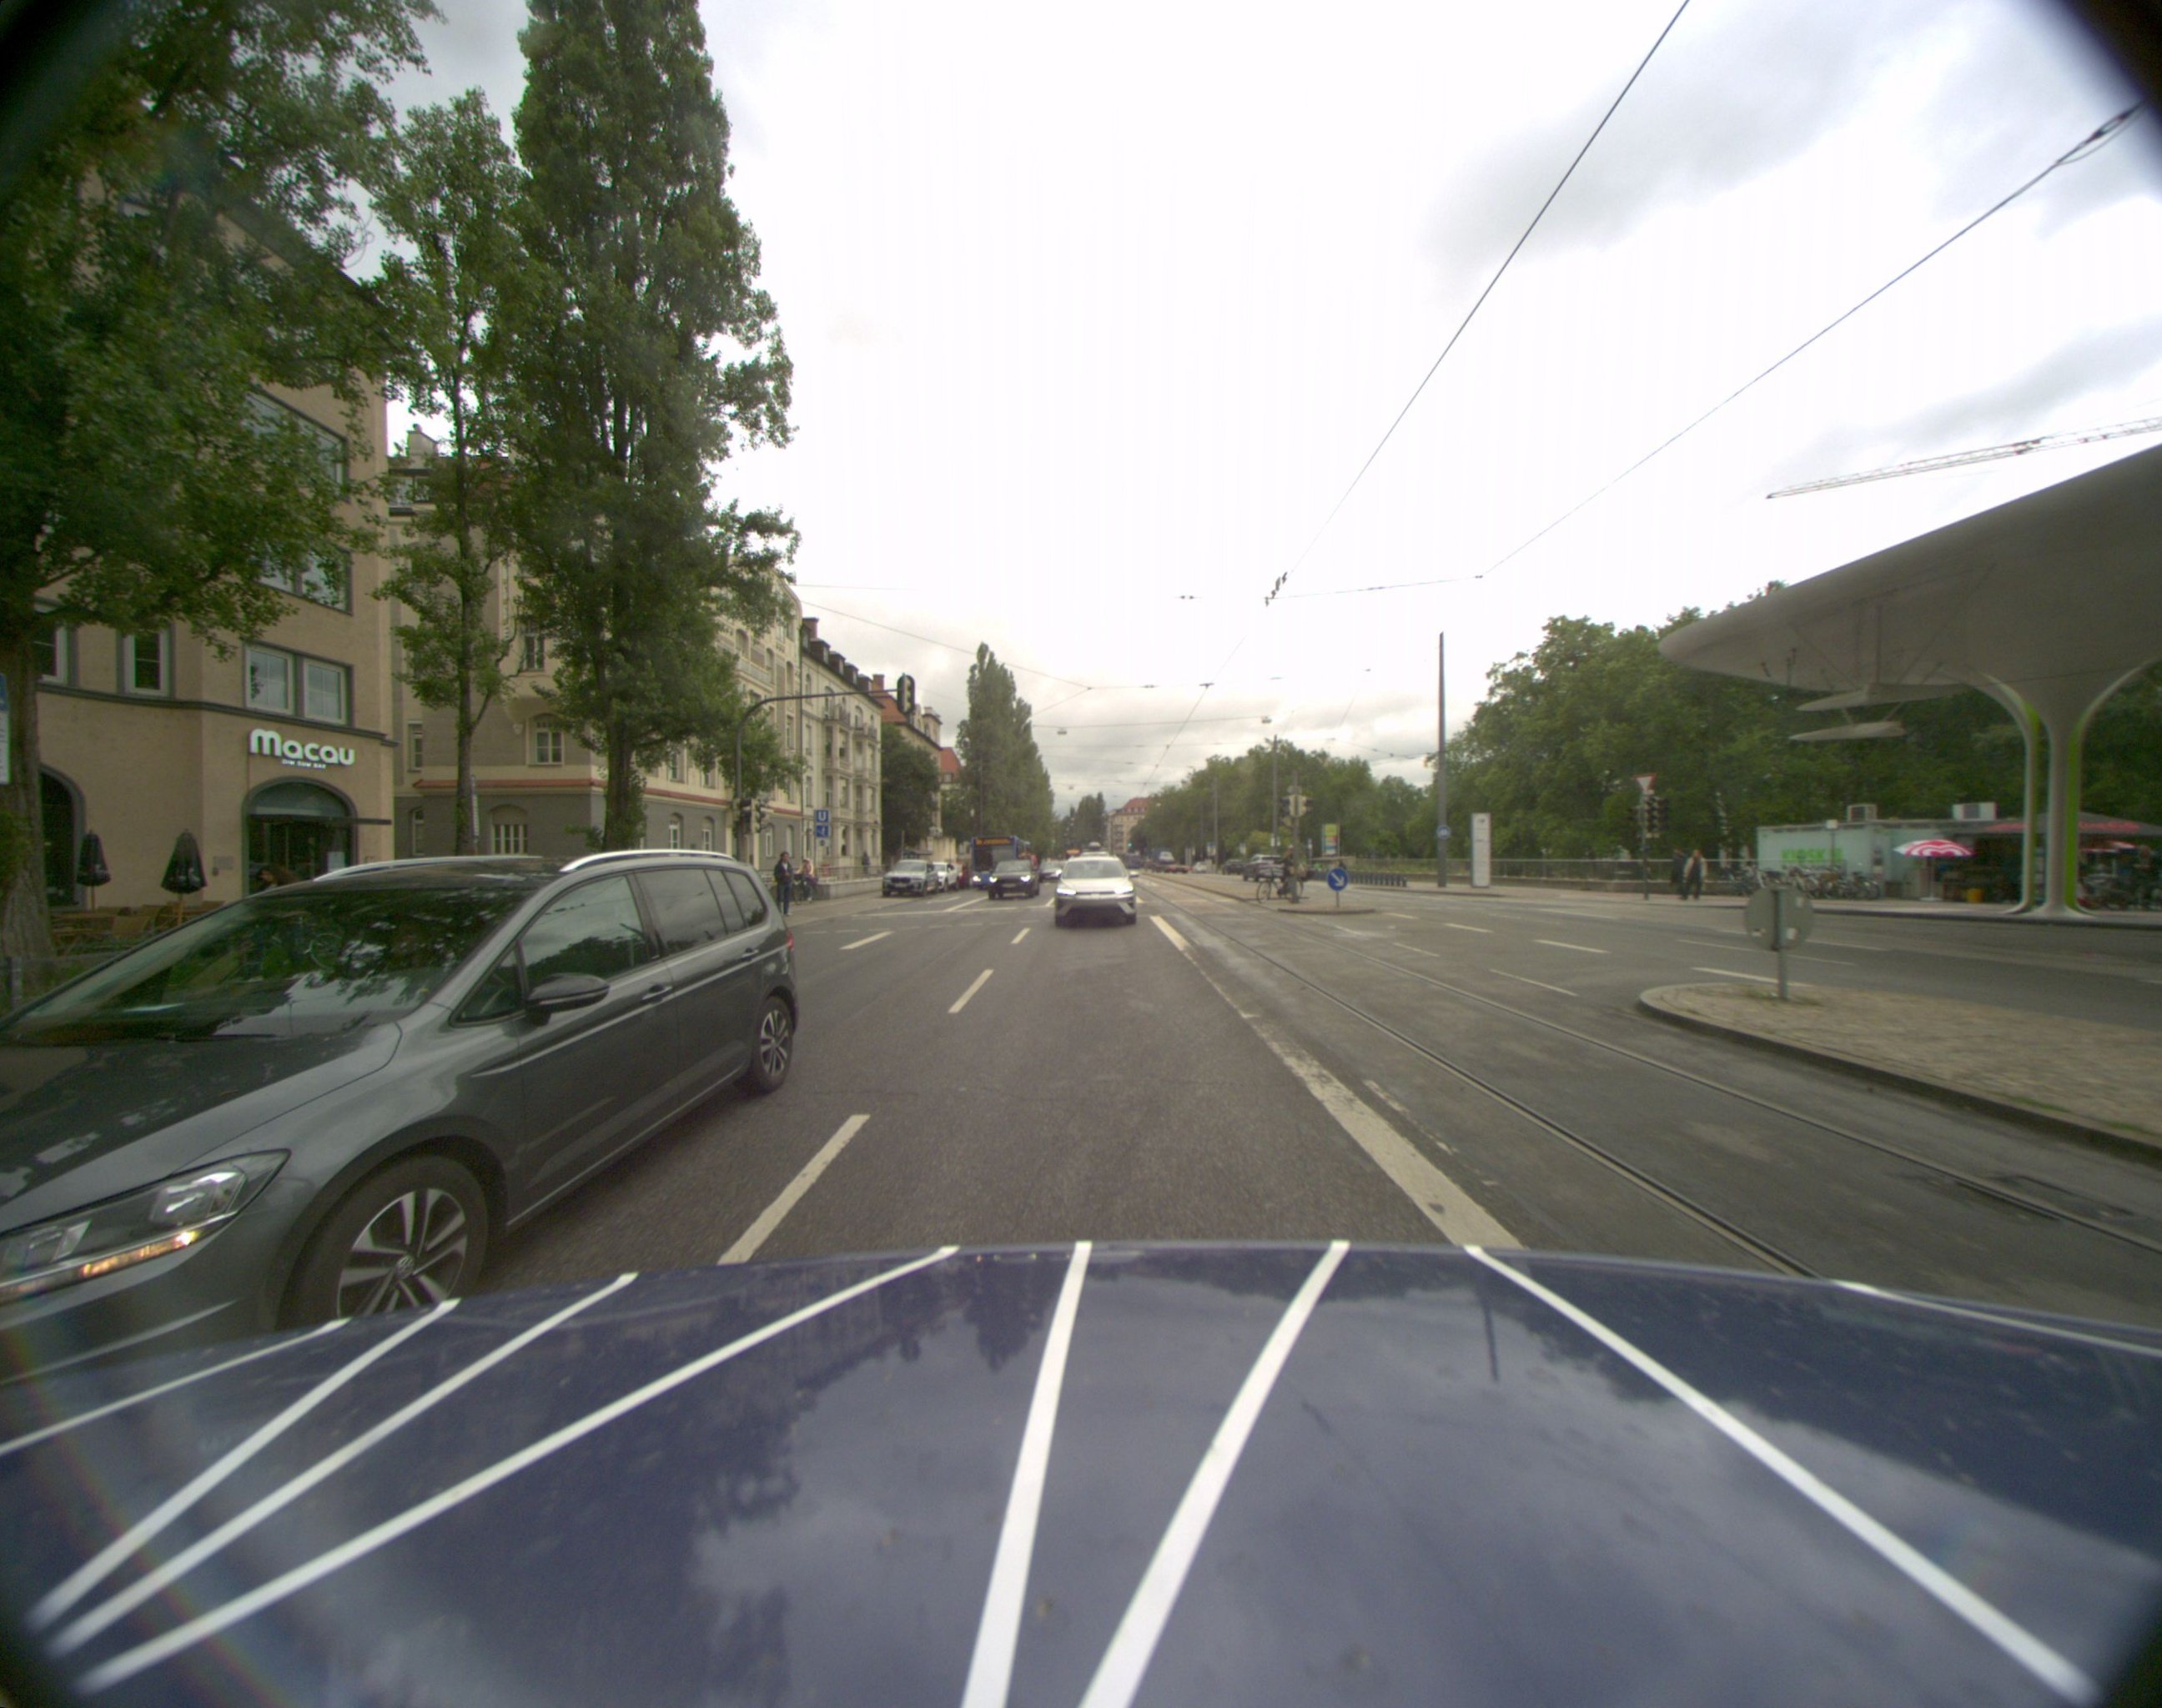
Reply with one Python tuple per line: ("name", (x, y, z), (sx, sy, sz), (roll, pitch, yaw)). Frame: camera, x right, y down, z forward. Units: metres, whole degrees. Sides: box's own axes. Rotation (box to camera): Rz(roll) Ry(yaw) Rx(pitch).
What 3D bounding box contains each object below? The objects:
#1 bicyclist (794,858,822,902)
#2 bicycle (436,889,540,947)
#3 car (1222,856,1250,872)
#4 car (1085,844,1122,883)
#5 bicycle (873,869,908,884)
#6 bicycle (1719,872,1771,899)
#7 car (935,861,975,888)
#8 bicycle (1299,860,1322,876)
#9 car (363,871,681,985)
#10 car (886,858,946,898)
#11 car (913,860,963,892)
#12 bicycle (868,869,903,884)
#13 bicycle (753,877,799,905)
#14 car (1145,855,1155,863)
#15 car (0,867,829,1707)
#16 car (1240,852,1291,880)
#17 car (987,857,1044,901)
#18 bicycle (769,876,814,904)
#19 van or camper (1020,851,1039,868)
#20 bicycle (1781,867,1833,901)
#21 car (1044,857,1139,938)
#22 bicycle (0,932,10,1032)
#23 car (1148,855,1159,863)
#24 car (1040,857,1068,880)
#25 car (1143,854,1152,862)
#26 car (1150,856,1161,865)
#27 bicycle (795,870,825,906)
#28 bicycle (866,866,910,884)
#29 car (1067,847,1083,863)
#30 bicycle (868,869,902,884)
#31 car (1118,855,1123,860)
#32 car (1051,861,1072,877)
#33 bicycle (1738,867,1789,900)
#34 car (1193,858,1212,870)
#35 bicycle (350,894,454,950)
("bicyclist", (-10.224, 0.960, 28.529), (0.681, 1.594, 0.939), (0, 1, 1))
("bicycle", (-12.333, 1.325, 15.826), (1.801, 1.103, 0.447), (-3, 0, 3))
("car", (15.918, 0.977, 78.183), (1.998, 1.561, 4.102), (0, 0, 1))
("car", (1.276, 0.510, 44.244), (1.998, 2.100, 4.000), (-1, 0, 1))
("bicycle", (-13.139, 1.565, 52.419), (2.326, 0.916, 0.586), (-2, 1, -16))
("bicycle", (23.548, 1.103, 26.988), (0.479, 0.889, 1.850), (0, 0, 9))
("car", (-7.362, 1.163, 44.836), (1.730, 1.500, 3.742), (0, 0, 0))
("bicycle", (16.684, 1.007, 55.173), (1.696, 1.165, 0.560), (0, 0, -28))
("car", (-8.836, 1.065, 12.661), (1.999, 1.432, 4.528), (0, 0, -1))
("car", (-7.568, 1.052, 35.224), (1.737, 1.651, 4.502), (-2, 0, 0))
("car", (-7.440, 1.109, 39.898), (1.730, 1.567, 3.967), (0, 0, 3))
("bicycle", (-13.796, 1.593, 53.630), (2.326, 0.916, 0.586), (-2, 1, -16))
("bicycle", (-12.343, 1.473, 30.771), (0.445, 1.017, 1.842), (-1, 1, 28))
("car", (14.702, 1.053, 161.453), (1.809, 1.674, 4.000), (0, 0, 1))
("car", (-2.950, 0.953, 3.566), (1.776, 1.637, 4.708), (-2, 0, 2))
("car", (11.261, 0.706, 46.700), (1.868, 1.629, 4.677), (1, 0, -1))
("car", (-2.573, 0.964, 30.783), (1.780, 1.495, 3.970), (-4, 0, 1))
("bicycle", (-11.711, 1.446, 30.761), (0.445, 1.017, 1.842), (-1, 1, 28))
("van or camper", (-6.629, 0.680, 98.918), (2.124, 2.086, 5.514), (0, 0, 0))
("bicycle", (25.412, 1.037, 26.626), (0.479, 1.090, 1.851), (0, 0, 15))
("car", (0.312, 0.864, 17.359), (1.812, 1.496, 4.953), (-2, 0, 2))
("bicycle", (-12.323, 1.356, 7.805), (1.892, 1.048, 0.458), (-1, 1, -2))
("car", (14.677, 1.035, 154.125), (1.809, 1.674, 4.000), (0, 0, 1))
("car", (-1.887, 1.006, 53.511), (1.704, 1.424, 4.245), (-3, 0, 1))
("car", (14.970, 0.833, 171.440), (1.809, 1.674, 4.000), (0, 0, 1))
("car", (14.197, 1.290, 144.359), (1.809, 1.633, 4.000), (0, 0, 1))
("bicycle", (-10.208, 1.271, 28.664), (0.424, 1.280, 1.779), (-1, 0, 2))
("bicycle", (-13.445, 1.466, 53.038), (2.922, 1.141, 0.639), (-2, 1, -17))
("car", (-1.060, 0.235, 141.742), (2.806, 2.836, 5.114), (-1, 1, 1))
("bicycle", (-14.026, 1.603, 54.376), (2.325, 0.916, 0.586), (-2, 1, -11))
("car", (12.506, 1.185, 242.136), (1.628, 1.473, 3.603), (0, 0, 1))
("car", (-1.729, 1.365, 68.923), (1.704, 1.360, 3.632), (0, 0, 1))
("bicycle", (24.089, 1.008, 26.867), (0.479, 1.090, 1.851), (0, 0, 12))
("car", (15.830, 1.300, 99.262), (1.893, 1.521, 4.000), (0, 0, 1))
("bicycle", (-14.153, 1.405, 15.849), (1.801, 1.103, 0.447), (-1, 0, 3))
